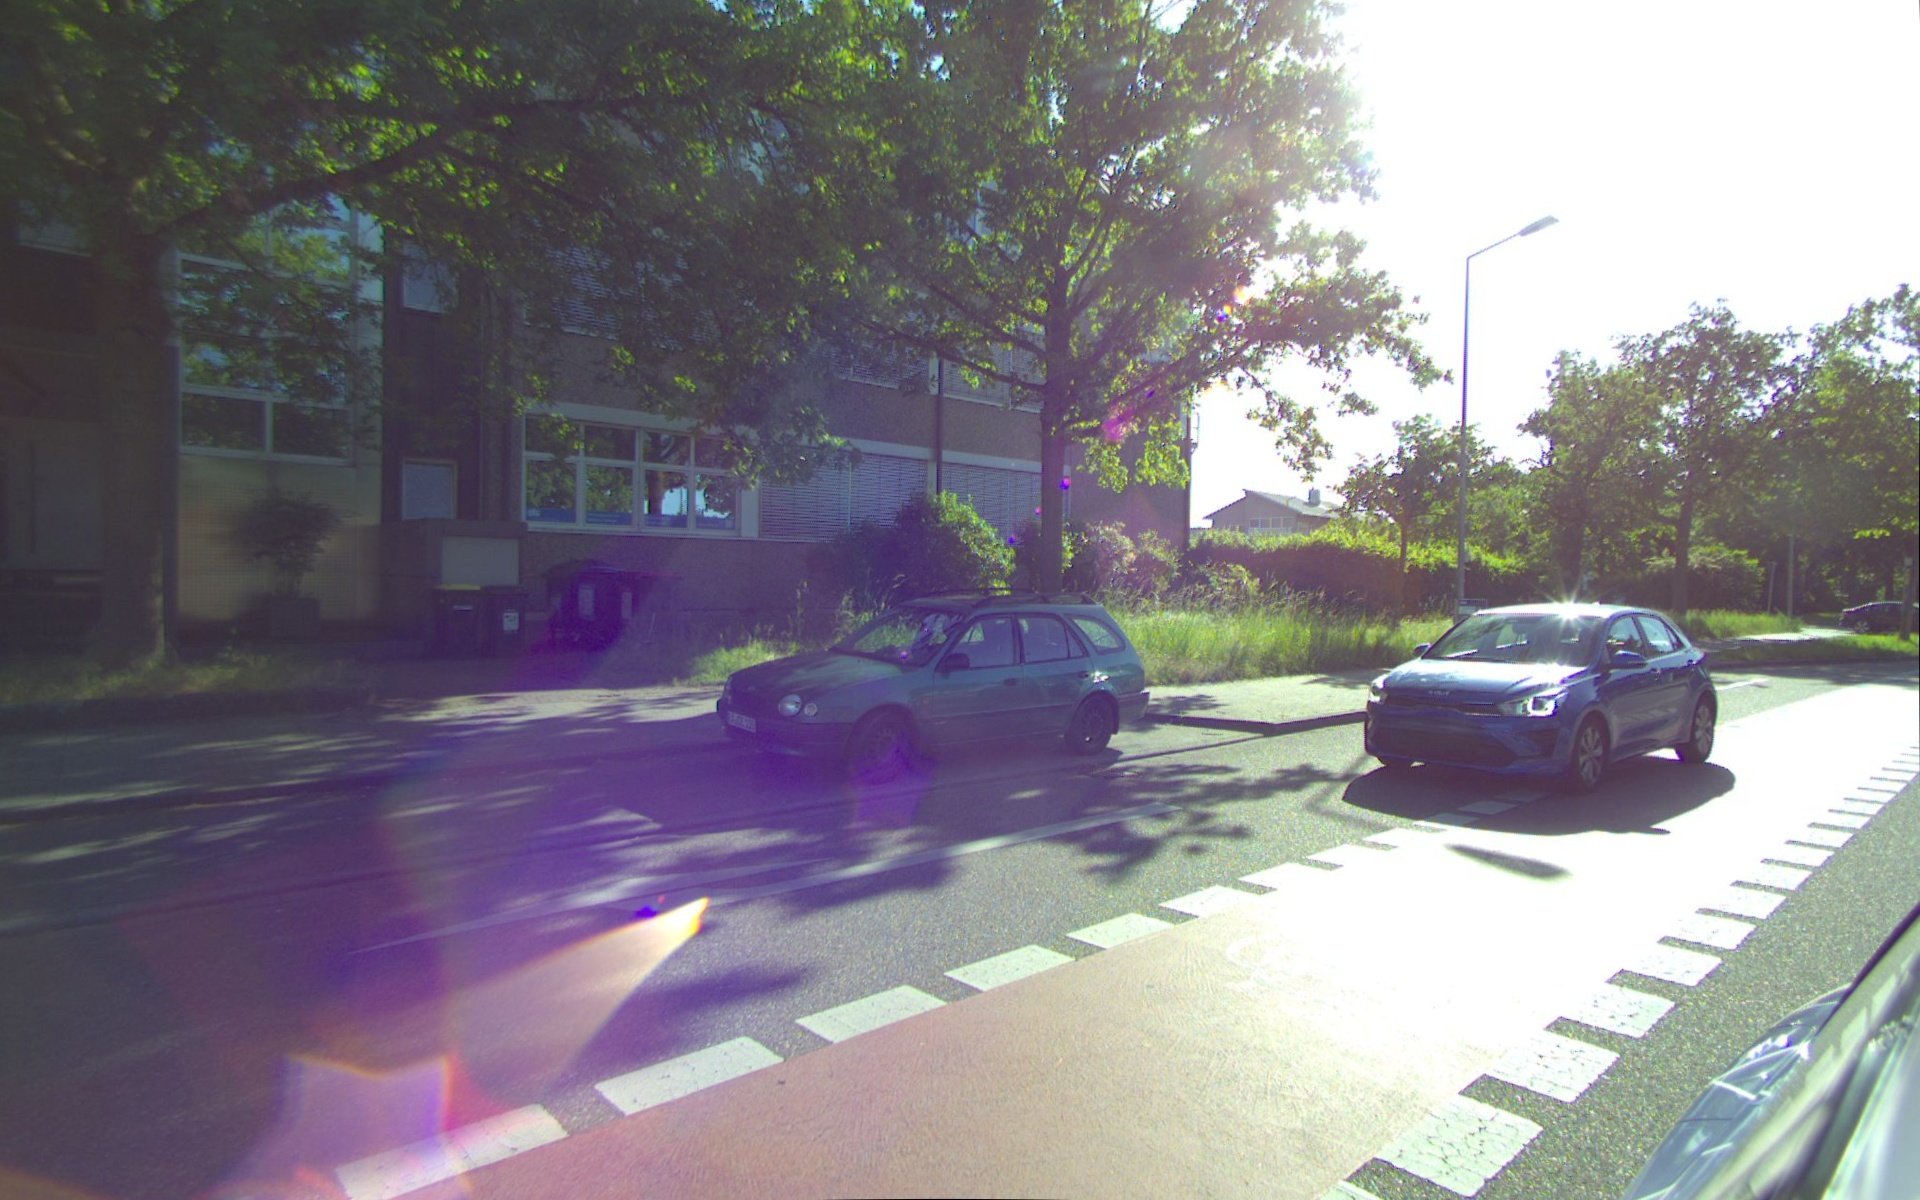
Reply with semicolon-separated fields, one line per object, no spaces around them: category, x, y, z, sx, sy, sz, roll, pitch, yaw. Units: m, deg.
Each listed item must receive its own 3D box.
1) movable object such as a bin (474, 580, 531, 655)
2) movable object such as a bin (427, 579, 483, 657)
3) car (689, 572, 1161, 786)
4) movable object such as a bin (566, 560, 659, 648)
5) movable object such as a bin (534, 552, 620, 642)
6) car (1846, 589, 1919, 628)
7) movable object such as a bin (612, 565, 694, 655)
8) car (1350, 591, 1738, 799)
movable object such as a bin;-6.770;0.238;14.966;0.604;1.075;0.634;0;1;-42
movable object such as a bin;-7.226;0.244;14.486;0.575;1.070;0.625;0;1;-42
car;-0.156;0.573;9.121;4.068;1.487;1.705;1;1;-41
movable object such as a bin;-5.783;0.041;16.849;1.070;1.388;1.186;0;2;-43
movable object such as a bin;-6.792;-0.075;17.930;1.024;1.501;1.309;0;2;-41
car;40.774;0.375;42.895;1.860;1.538;4.492;-1;2;-33
movable object such as a bin;-4.793;0.124;15.762;0.878;1.323;1.186;0;2;-37
car;5.347;0.671;9.098;3.868;1.487;1.654;0;0;-37
